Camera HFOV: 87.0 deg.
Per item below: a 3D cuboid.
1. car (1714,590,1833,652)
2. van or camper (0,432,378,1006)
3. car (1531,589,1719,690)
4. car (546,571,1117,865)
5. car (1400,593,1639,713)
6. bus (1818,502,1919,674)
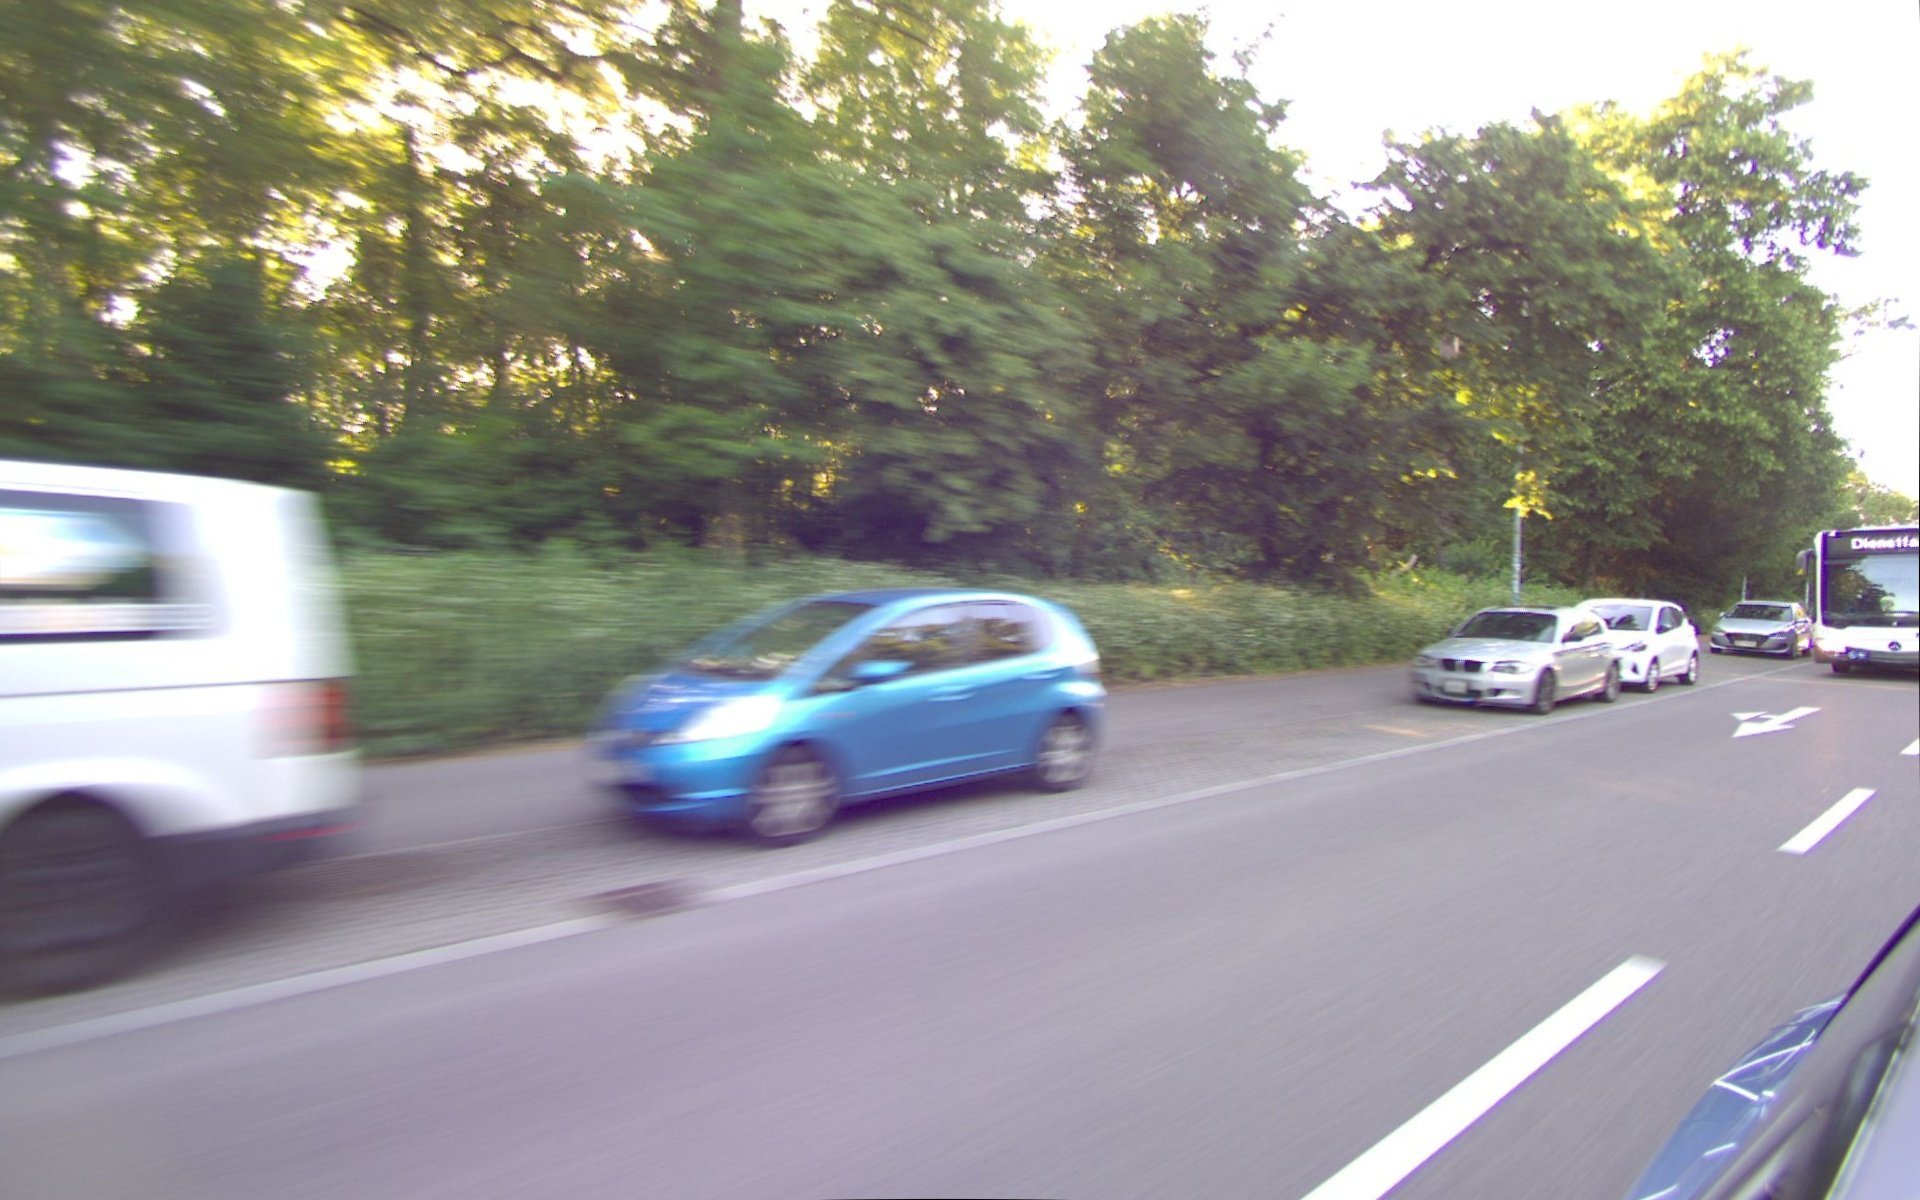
[{"bbox_3d":[22.081,0.517,27.402,4.586,1.459,1.731,0,4,-42],"label":"car"},{"bbox_3d":[-5.027,0.400,3.225,5.249,1.995,1.835,0,0,-42],"label":"van or camper"},{"bbox_3d":[11.720,0.601,17.730,4.018,1.541,1.731,0,1,-41],"label":"car"},{"bbox_3d":[-0.730,0.604,7.233,3.800,1.541,1.650,0,1,-42],"label":"car"},{"bbox_3d":[8.133,0.656,14.565,4.018,1.427,1.731,0,2,-41],"label":"car"},{"bbox_3d":[22.415,-0.238,23.332,12.073,3.262,2.707,0,1,-43],"label":"bus"}]
